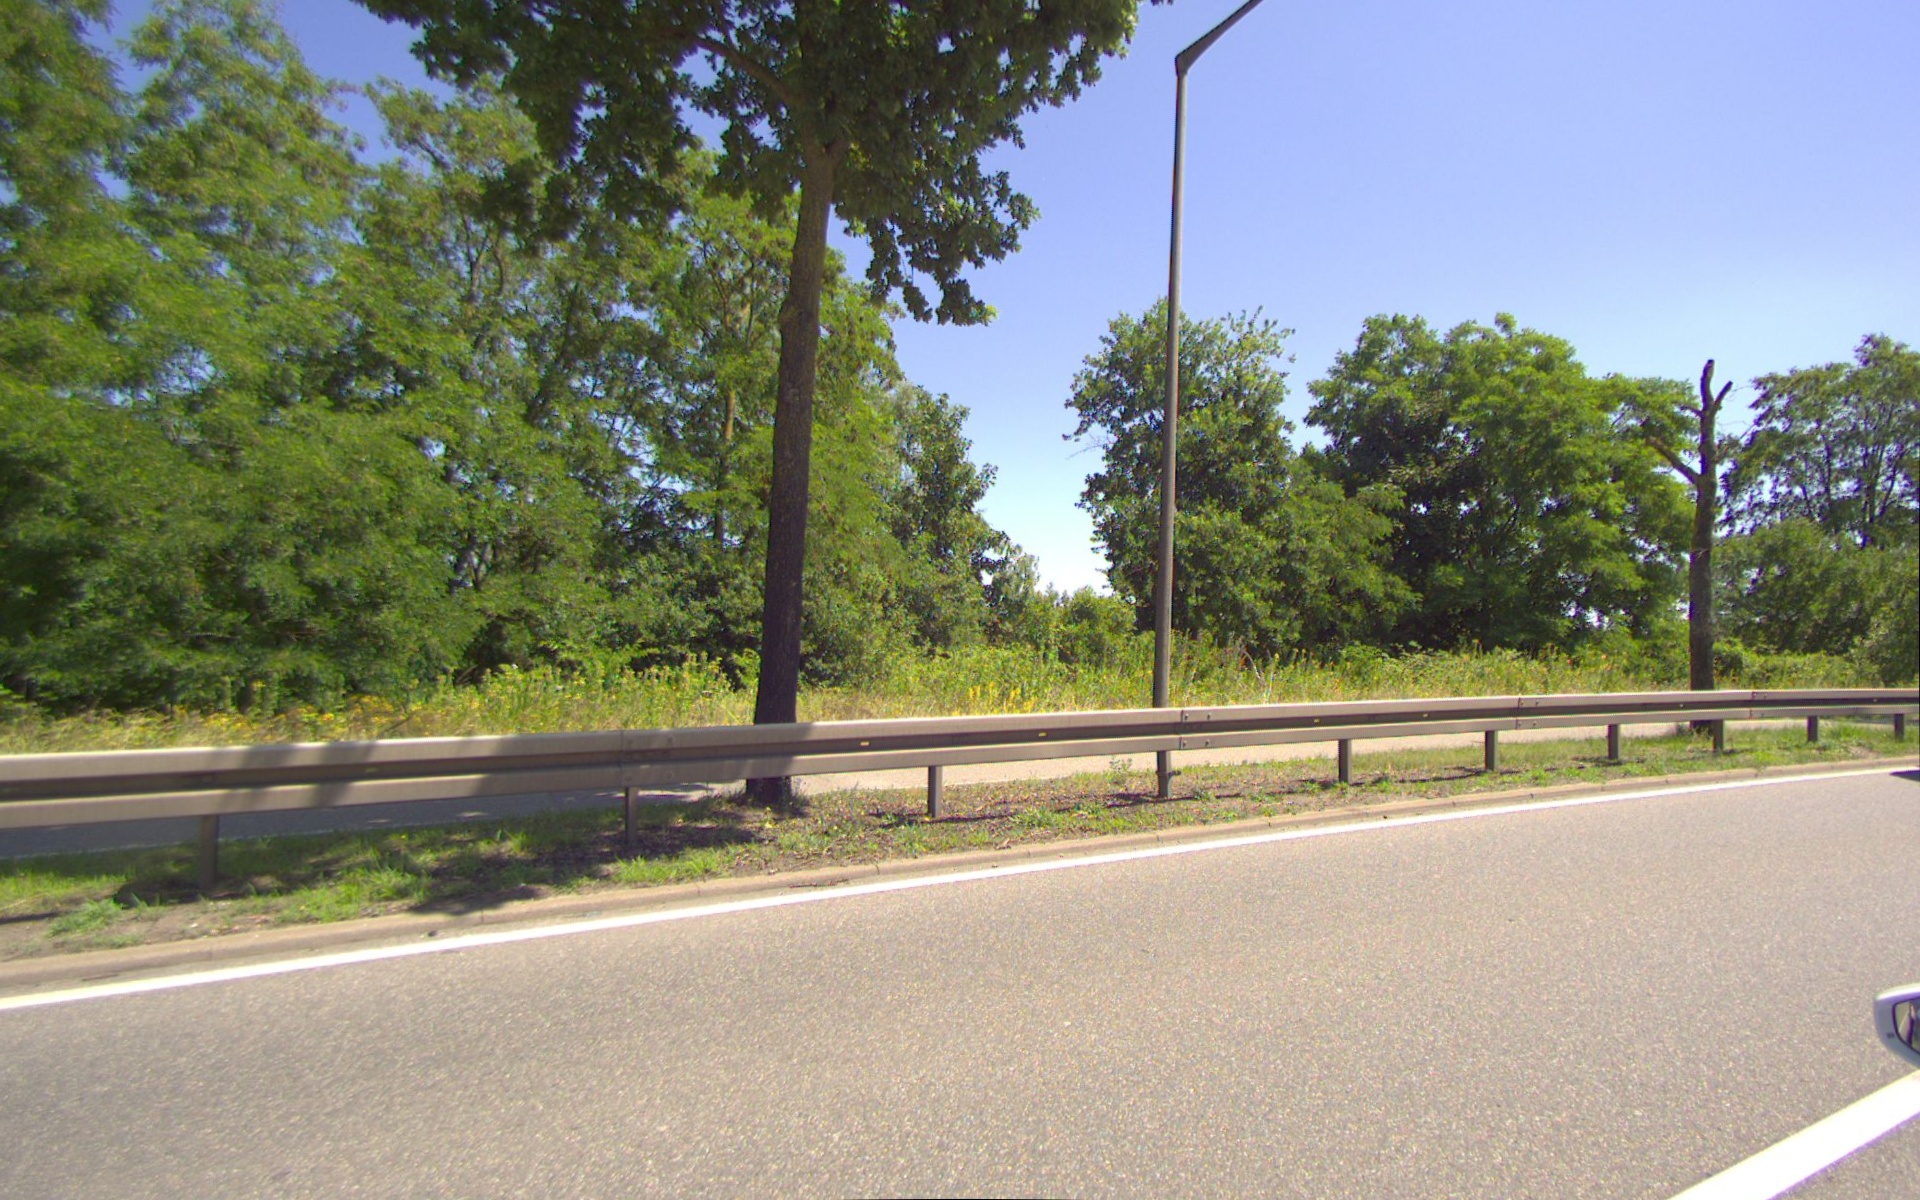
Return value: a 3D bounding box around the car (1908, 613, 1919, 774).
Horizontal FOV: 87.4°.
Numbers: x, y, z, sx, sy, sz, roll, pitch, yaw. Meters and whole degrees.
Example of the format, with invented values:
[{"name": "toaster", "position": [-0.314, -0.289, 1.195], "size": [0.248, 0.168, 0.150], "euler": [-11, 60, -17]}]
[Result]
[{"name": "car", "position": [12.014, 1.021, 10.329], "size": [4.334, 1.625, 1.863], "euler": [2, -1, -26]}]
